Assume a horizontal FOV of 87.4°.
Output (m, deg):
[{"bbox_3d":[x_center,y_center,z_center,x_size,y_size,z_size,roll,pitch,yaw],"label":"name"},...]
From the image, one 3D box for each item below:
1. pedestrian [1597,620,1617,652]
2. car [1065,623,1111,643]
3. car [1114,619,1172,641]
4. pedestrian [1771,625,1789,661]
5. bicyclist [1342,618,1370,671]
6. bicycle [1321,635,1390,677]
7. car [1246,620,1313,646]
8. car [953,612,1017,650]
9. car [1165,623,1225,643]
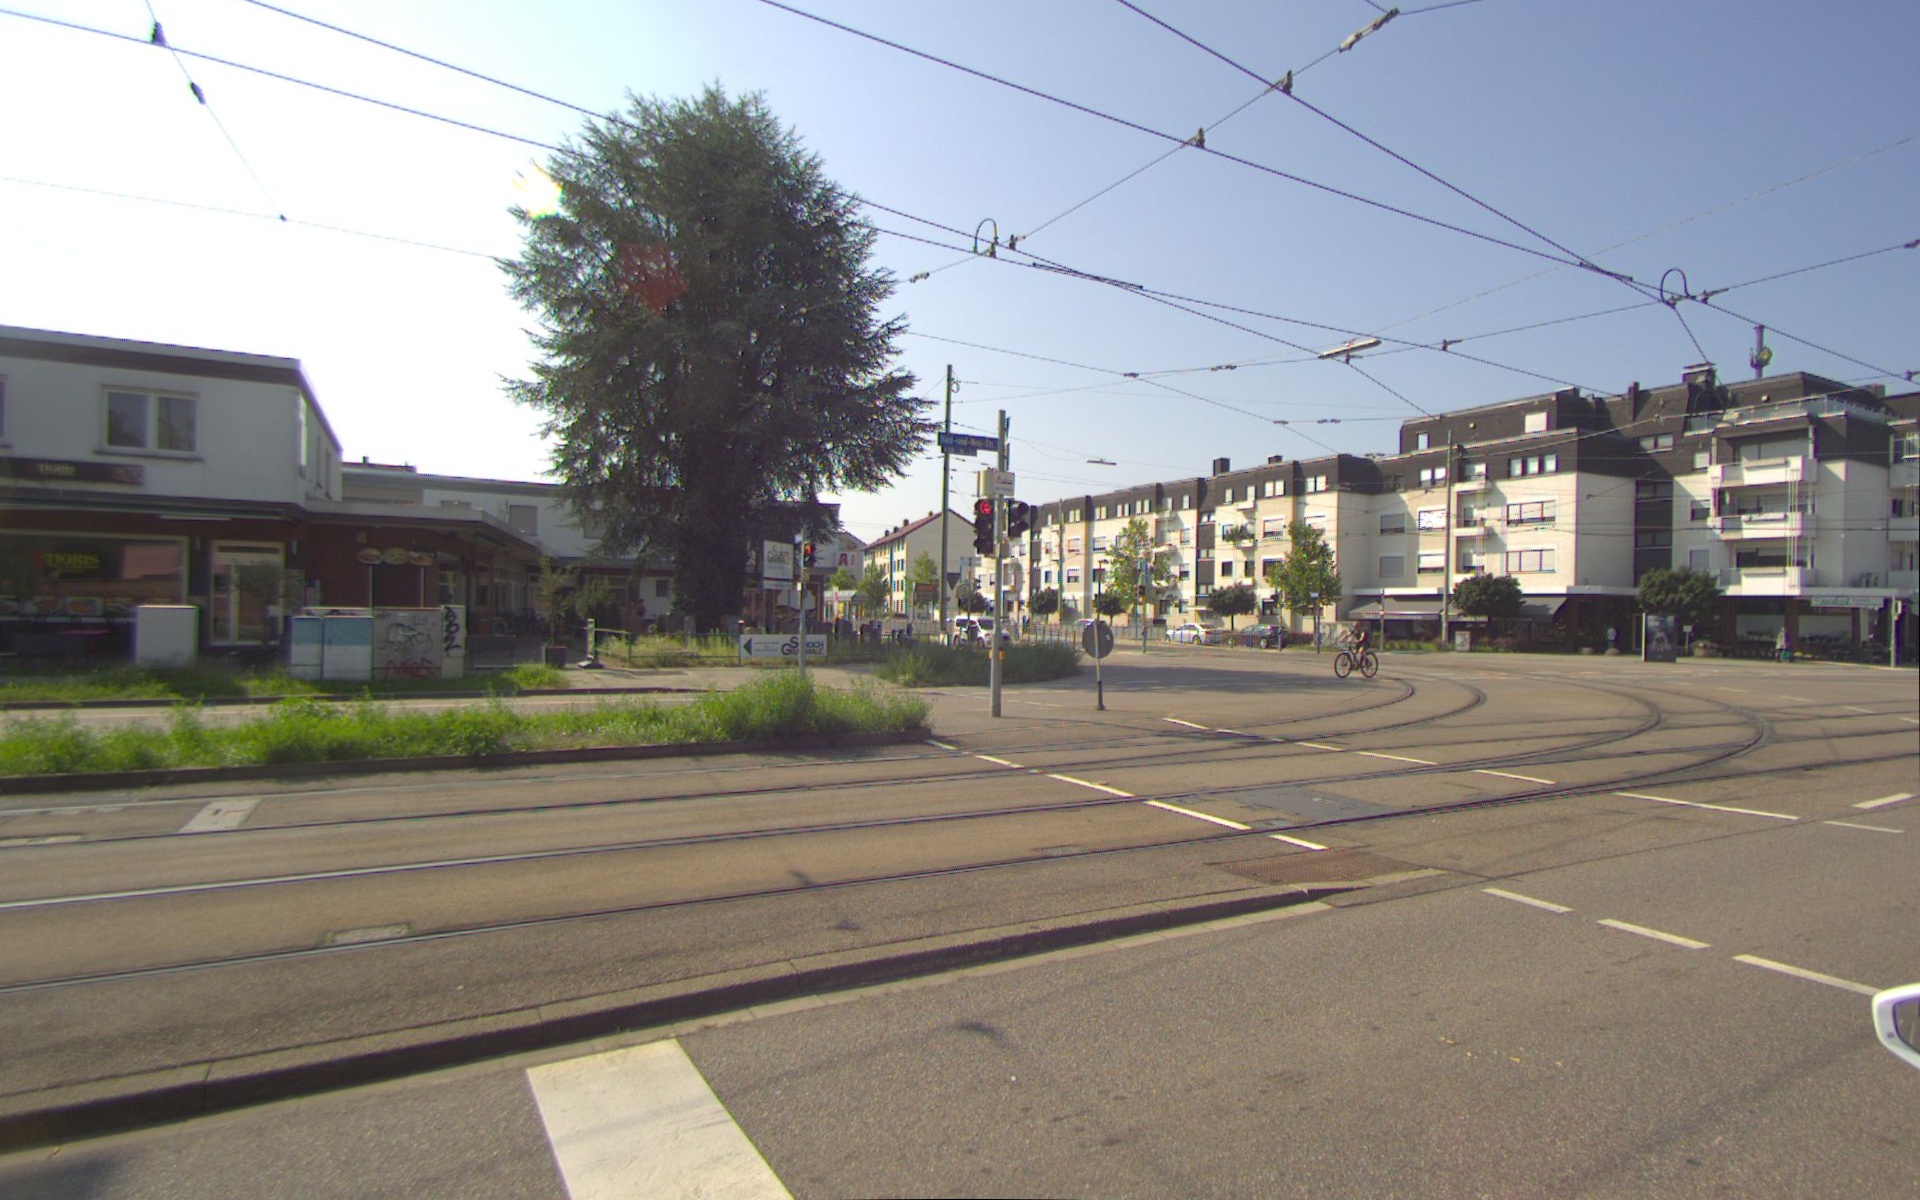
[{"bbox_3d":[36.204,1.995,56.169,0.689,1.764,0.677,2,-2,-27],"label":"pedestrian"},{"bbox_3d":[10.039,2.592,78.981,1.653,1.500,3.889,2,-3,-29],"label":"car"},{"bbox_3d":[13.312,2.226,73.414,1.847,1.554,4.351,2,-3,-29],"label":"car"},{"bbox_3d":[40.639,2.117,49.785,0.589,1.768,0.565,-1,-2,28],"label":"pedestrian"},{"bbox_3d":[11.530,1.294,29.253,0.483,1.543,0.566,2,-2,-27],"label":"bicyclist"},{"bbox_3d":[11.511,1.613,29.242,2.179,1.195,0.573,1,-2,-27],"label":"bicycle"},{"bbox_3d":[21.434,2.199,67.611,1.907,1.527,4.091,2,0,-29],"label":"car"},{"bbox_3d":[1.333,1.649,54.589,1.799,1.911,3.999,1,0,-26],"label":"car"},{"bbox_3d":[15.774,2.243,67.527,1.653,1.316,4.092,2,-3,-29],"label":"car"}]
